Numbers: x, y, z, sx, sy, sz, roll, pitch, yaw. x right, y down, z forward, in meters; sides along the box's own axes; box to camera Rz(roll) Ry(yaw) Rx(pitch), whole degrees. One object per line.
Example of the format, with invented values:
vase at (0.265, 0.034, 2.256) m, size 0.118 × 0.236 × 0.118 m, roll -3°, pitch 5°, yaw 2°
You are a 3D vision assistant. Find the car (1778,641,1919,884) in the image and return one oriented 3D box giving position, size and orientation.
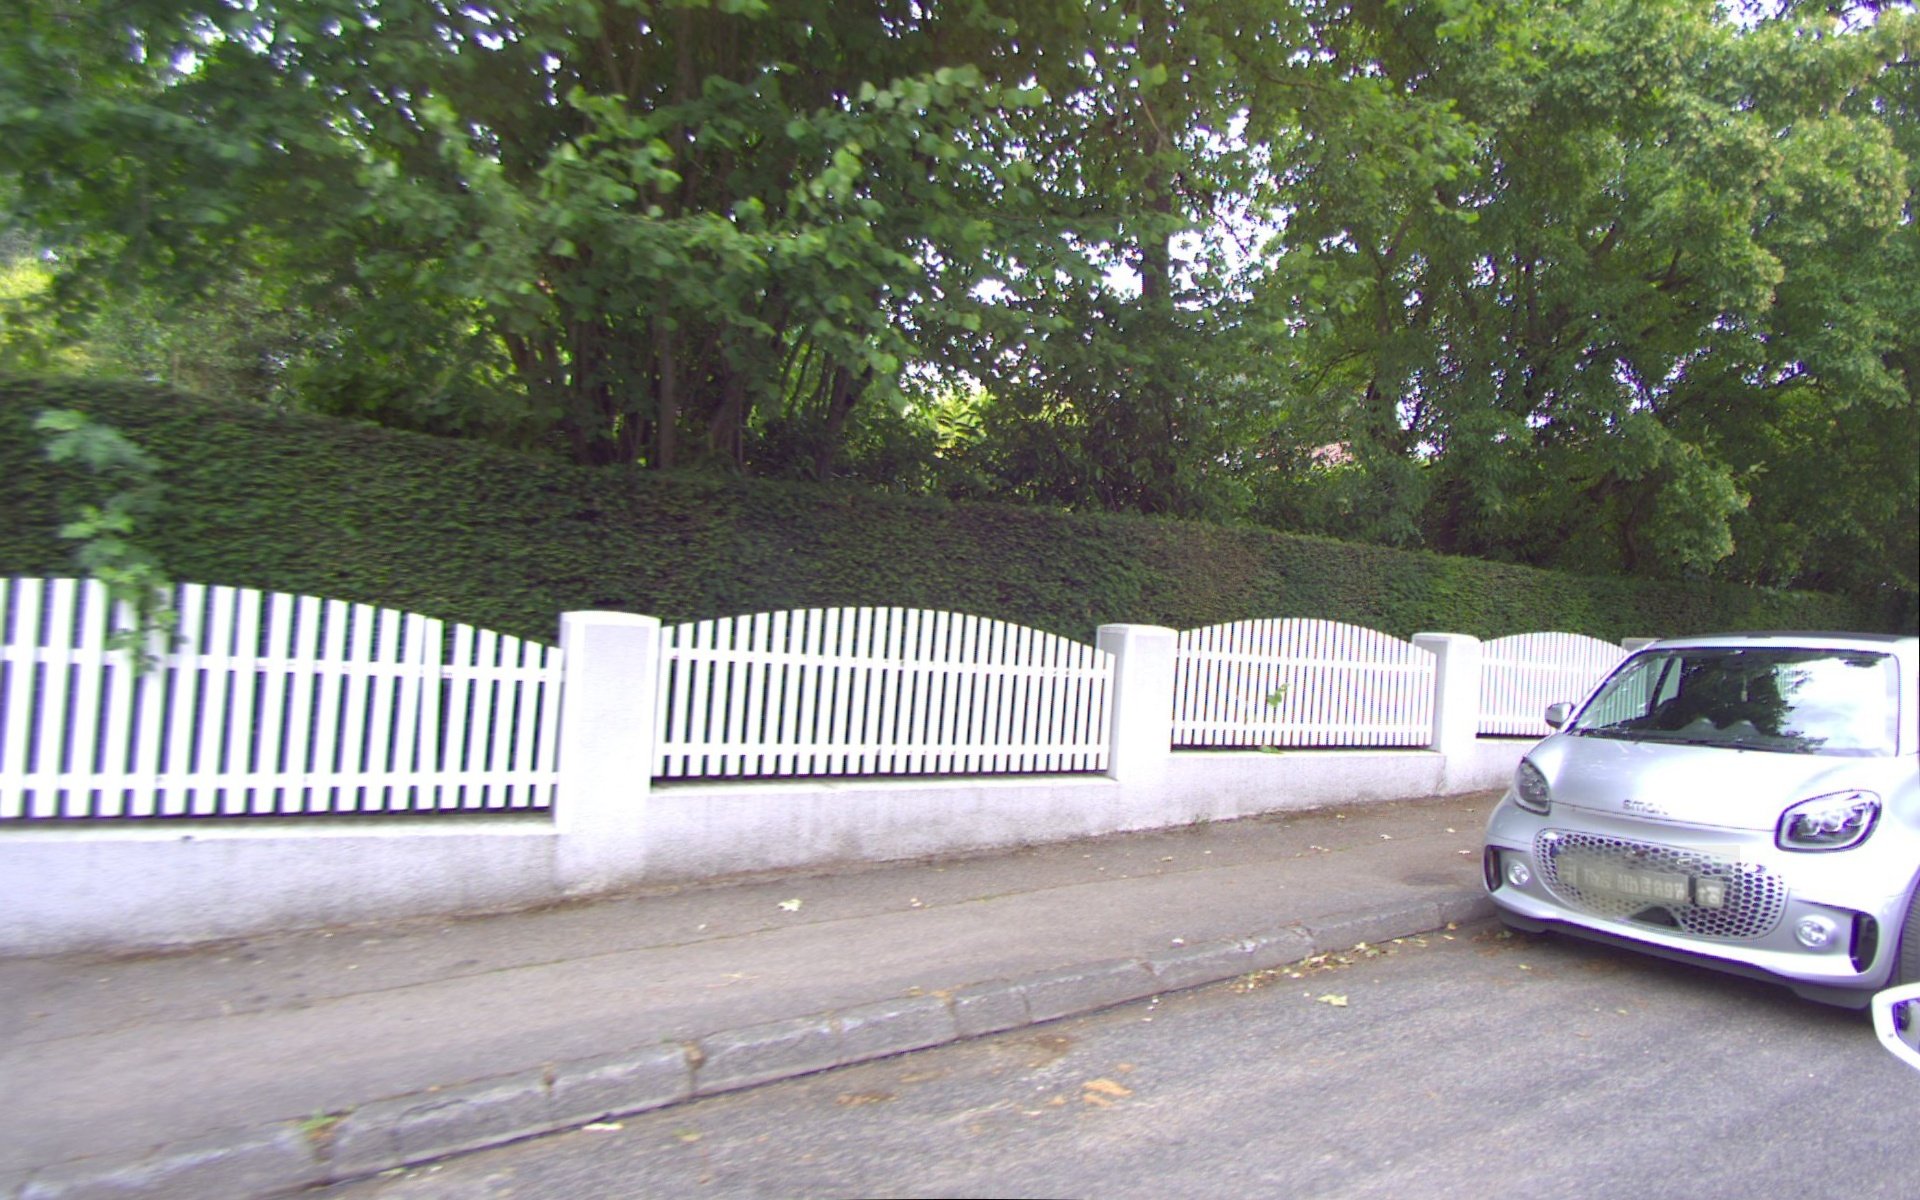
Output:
car at (7.657, 1.045, 7.090) m, size 3.841 × 1.500 × 1.648 m, roll 2°, pitch -3°, yaw -30°

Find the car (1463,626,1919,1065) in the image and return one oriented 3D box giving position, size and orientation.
car at (4.128, 0.926, 5.065) m, size 2.931 × 1.553 × 1.612 m, roll 2°, pitch -2°, yaw -33°
